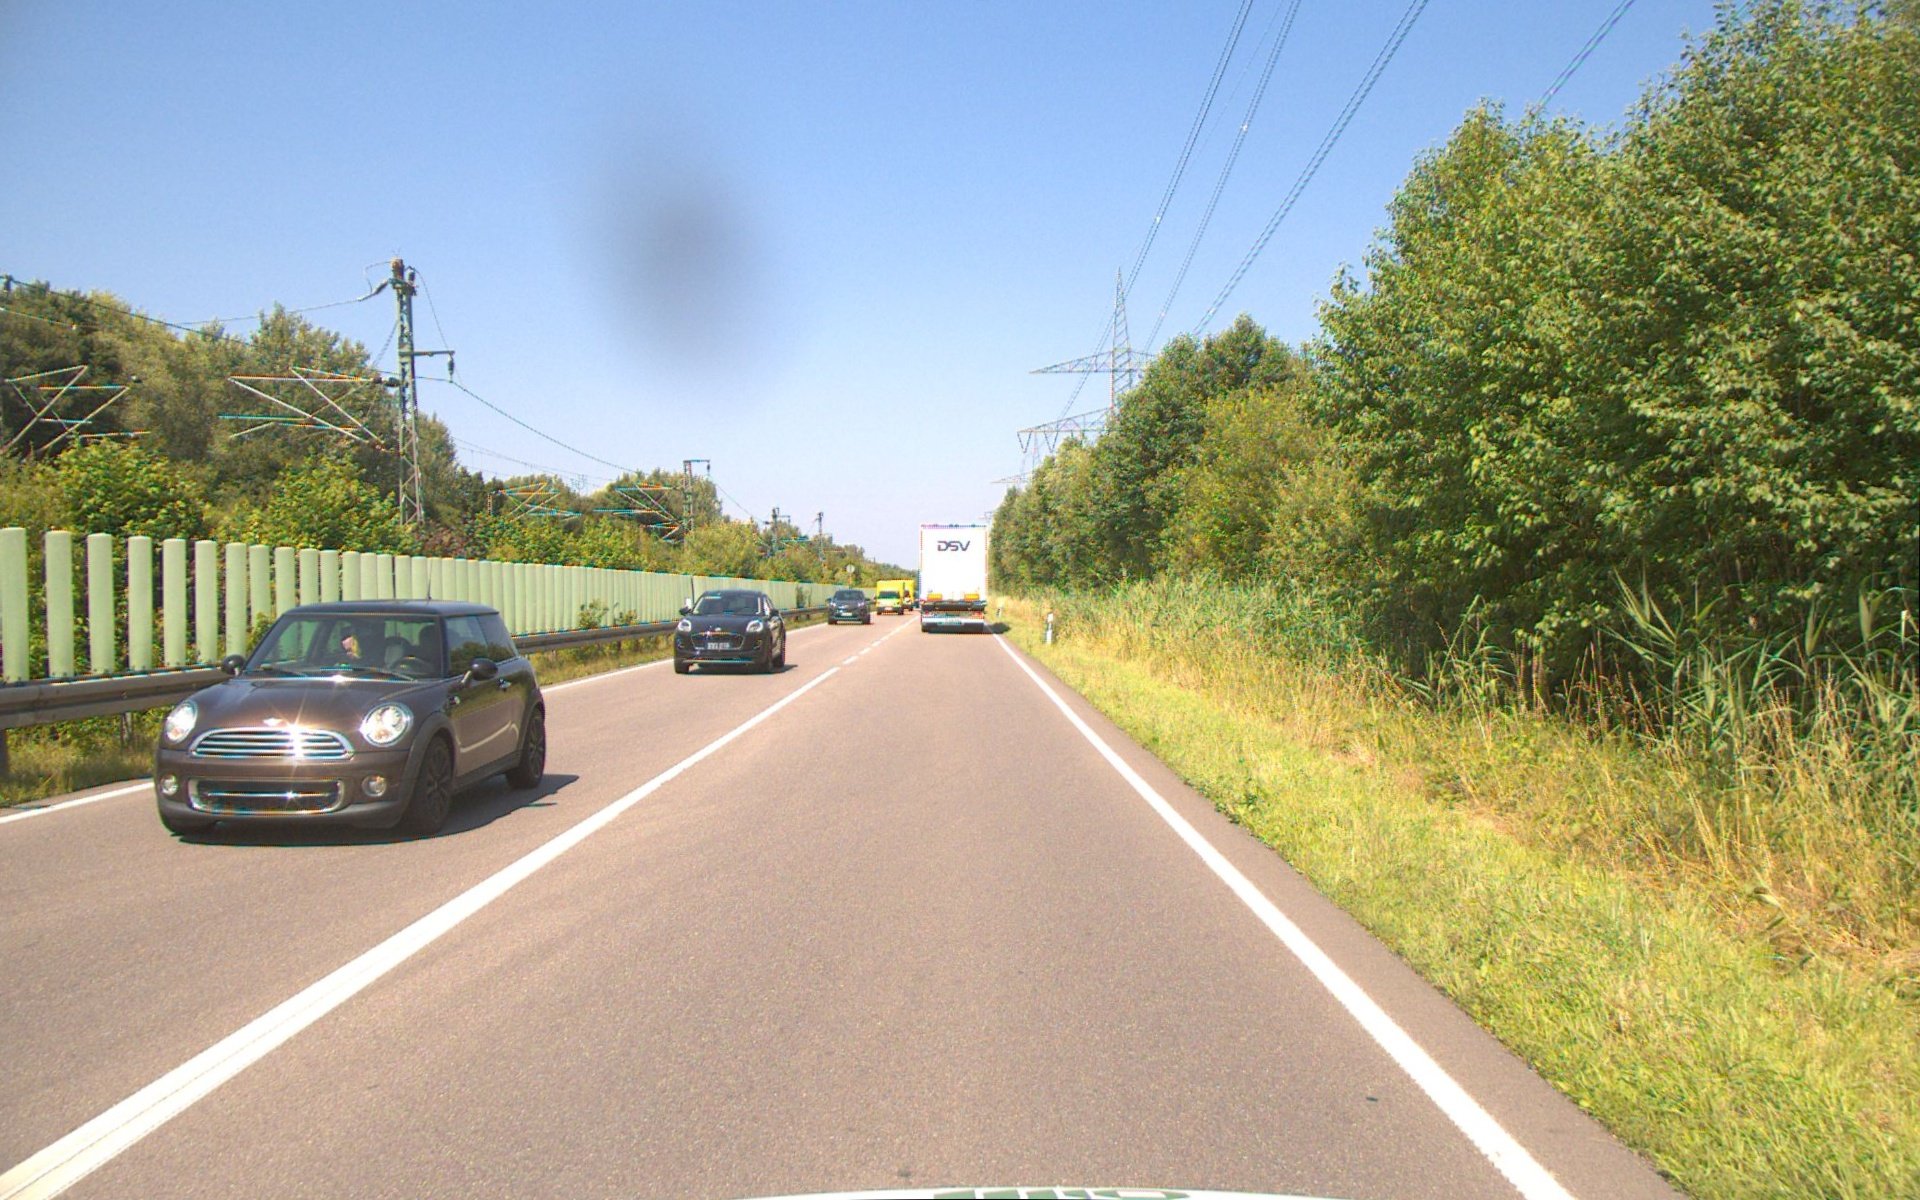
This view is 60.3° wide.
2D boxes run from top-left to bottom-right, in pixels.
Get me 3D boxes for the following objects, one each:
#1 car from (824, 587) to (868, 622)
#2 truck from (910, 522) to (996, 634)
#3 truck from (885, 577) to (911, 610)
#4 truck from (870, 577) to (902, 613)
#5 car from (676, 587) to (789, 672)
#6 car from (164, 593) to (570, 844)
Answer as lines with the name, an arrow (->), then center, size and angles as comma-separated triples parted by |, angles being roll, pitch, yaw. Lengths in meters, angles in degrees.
car -> -5.391, 0.201, 78.595 | 1.764, 1.615, 4.370 | 0, 0, 0
truck -> -0.322, -0.821, 66.533 | 3.127, 4.113, 12.005 | 0, 0, -1
truck -> -5.203, -0.567, 139.487 | 2.038, 2.693, 5.703 | 0, 0, -1
truck -> -5.033, -0.322, 113.214 | 1.952, 2.389, 6.012 | 0, 0, 0
car -> -4.314, 0.521, 31.945 | 1.639, 1.541, 4.288 | 0, 0, -1
car -> -3.903, 0.684, 11.529 | 1.475, 1.460, 3.742 | 0, 0, 0
